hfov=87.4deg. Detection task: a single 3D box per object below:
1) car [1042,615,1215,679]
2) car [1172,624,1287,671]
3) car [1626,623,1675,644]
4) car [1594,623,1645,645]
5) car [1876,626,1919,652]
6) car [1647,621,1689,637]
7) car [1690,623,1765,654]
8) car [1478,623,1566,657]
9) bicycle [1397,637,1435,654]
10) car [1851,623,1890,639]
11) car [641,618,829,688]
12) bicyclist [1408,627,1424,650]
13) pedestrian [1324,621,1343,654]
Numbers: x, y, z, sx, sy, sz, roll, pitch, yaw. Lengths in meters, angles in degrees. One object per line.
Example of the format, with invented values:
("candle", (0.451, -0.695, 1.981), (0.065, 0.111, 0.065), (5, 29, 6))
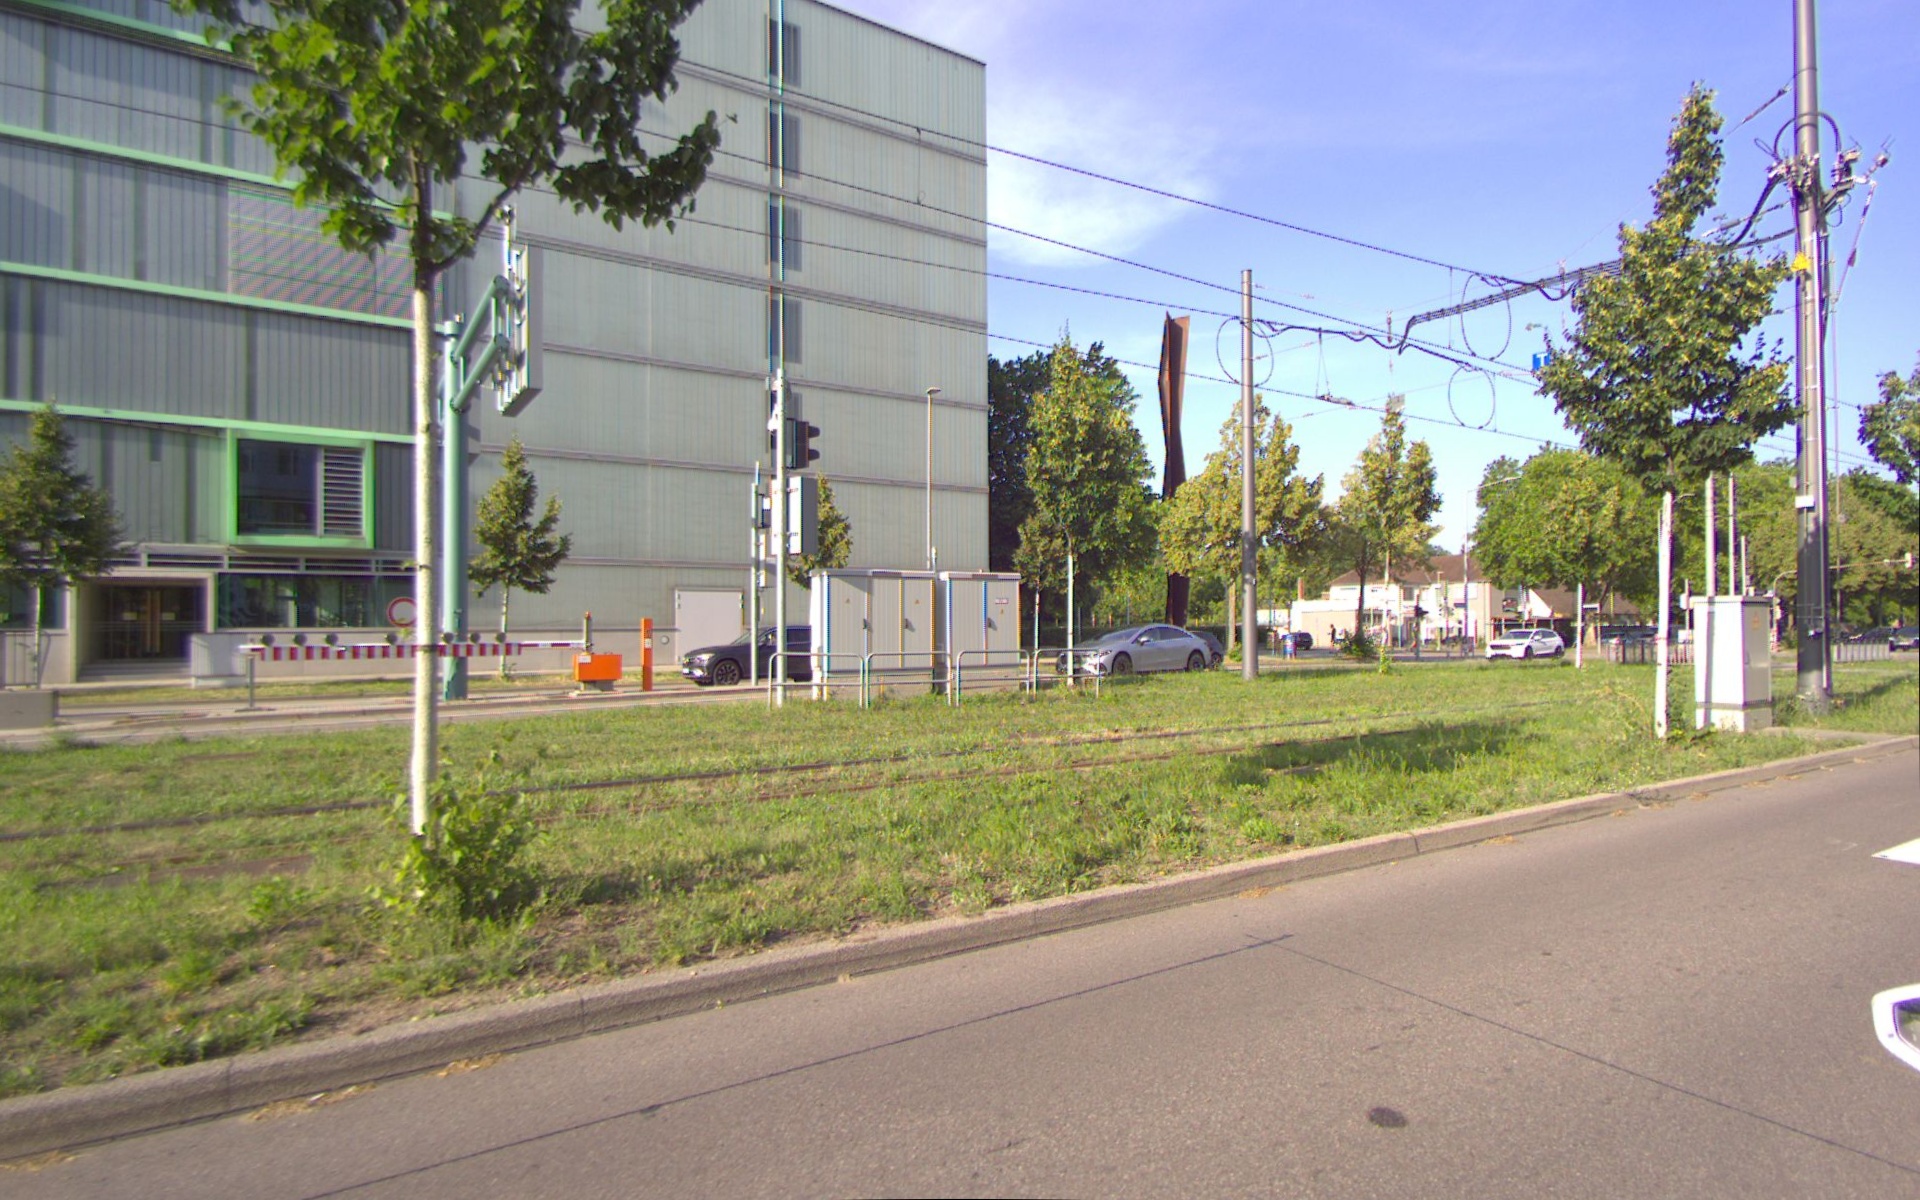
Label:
("car", (4.693, 1.266, 27.514), (4.873, 1.547, 1.978), (1, -5, -41))
("car", (10.154, 1.728, 37.734), (4.134, 1.656, 1.898), (1, -1, -33))
("car", (58.812, 2.841, 85.560), (3.950, 1.773, 1.874), (1, -2, -28))
("car", (54.701, 2.826, 83.258), (3.950, 1.773, 1.874), (1, -2, -28))
("car", (64.805, 2.632, 68.728), (4.941, 1.707, 1.982), (0, -1, -33))
("car", (72.377, 2.976, 102.685), (3.950, 1.580, 1.874), (1, -2, -28))
("car", (40.836, 2.011, 53.444), (4.268, 1.548, 1.981), (0, -1, -35))
("car", (26.972, 1.885, 48.181), (4.394, 1.548, 1.895), (0, -1, -33))
("bicycle", (30.175, 3.004, 66.497), (2.166, 1.055, 0.697), (-1, -2, 35))
("car", (96.473, 3.285, 106.413), (3.950, 1.580, 1.874), (1, -2, -28))
("car", (-6.025, 1.363, 27.112), (4.568, 1.709, 1.982), (0, -1, -34))
("bicyclist", (30.186, 2.545, 66.500), (0.836, 1.512, 0.697), (-1, -2, 35))
("pedestrian", (23.962, 2.411, 64.465), (0.864, 2.135, 0.724), (-1, -3, -4))
